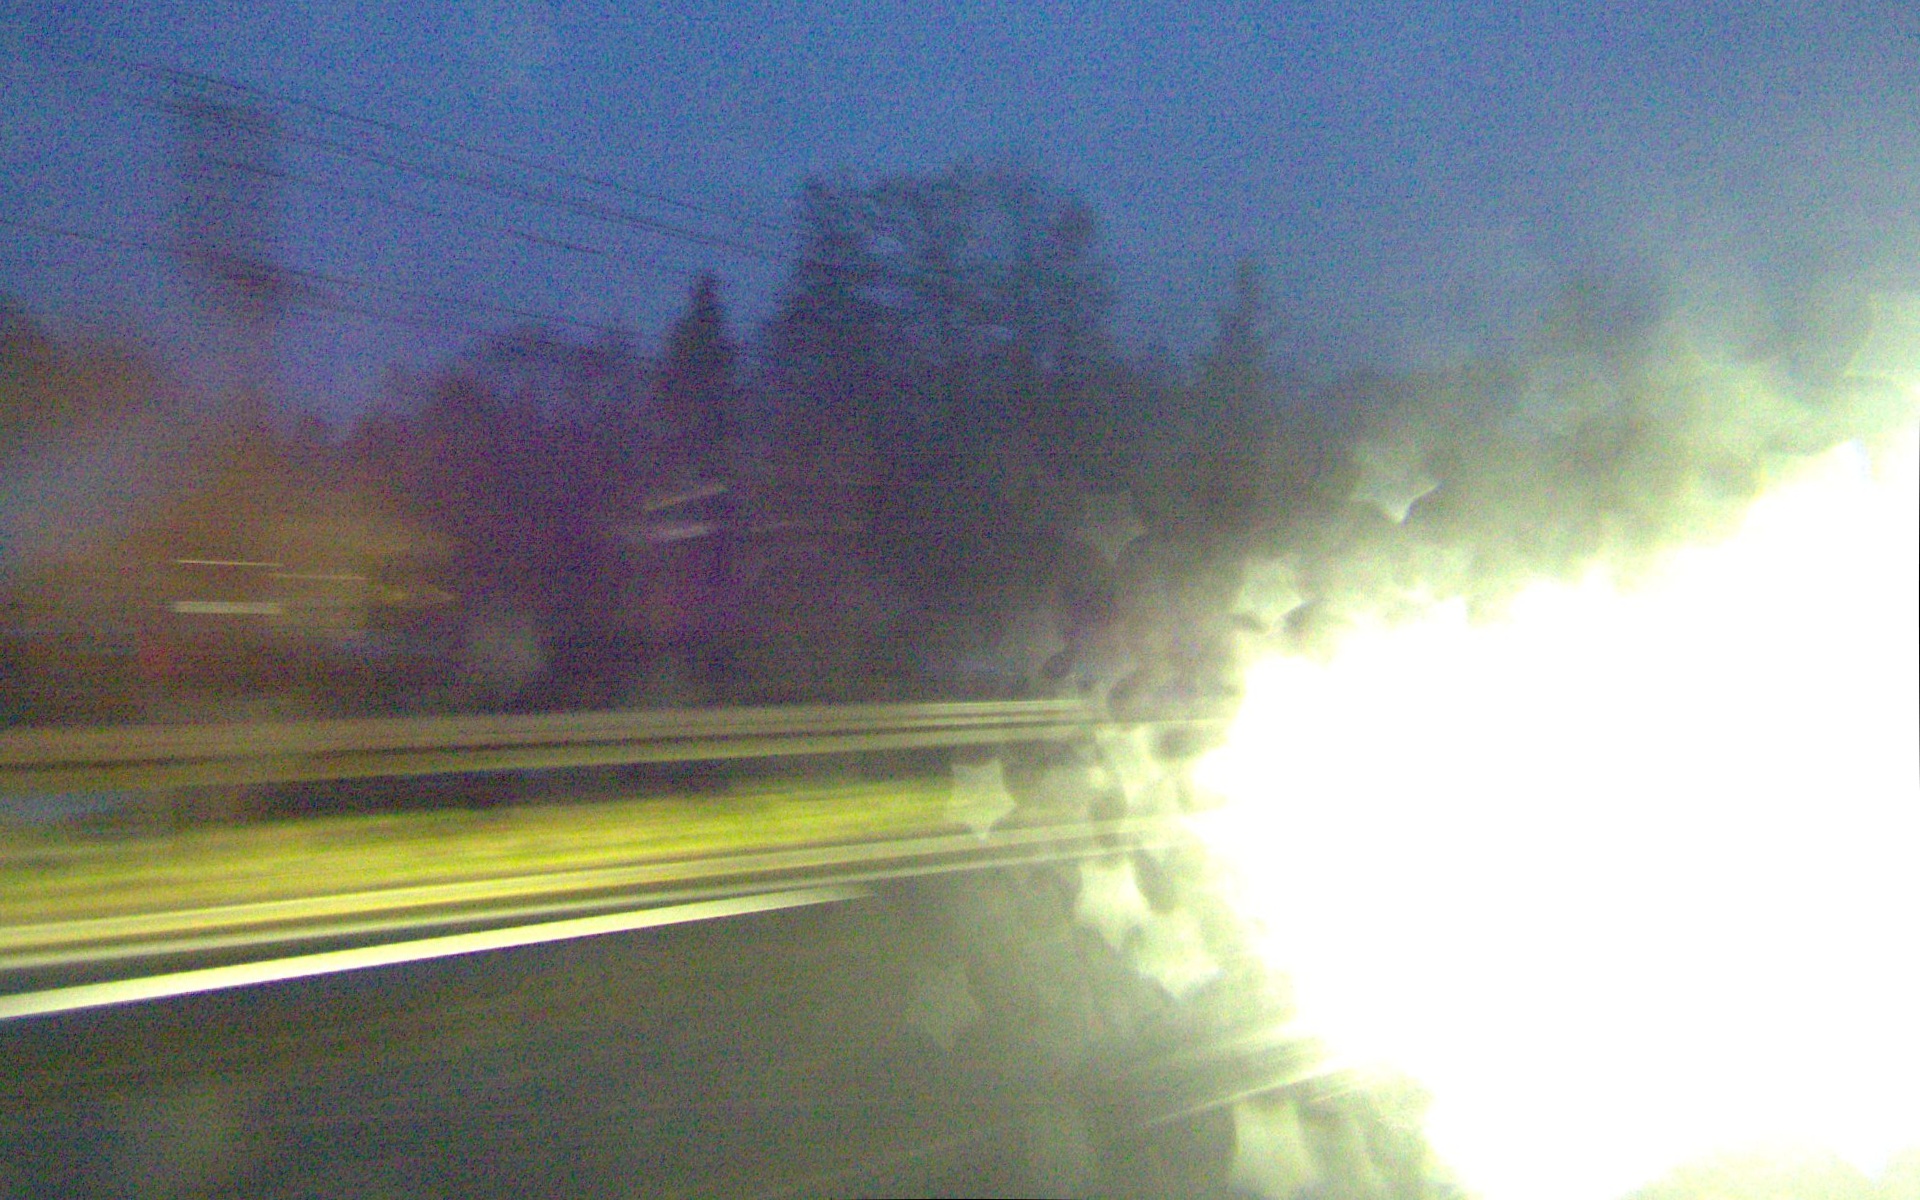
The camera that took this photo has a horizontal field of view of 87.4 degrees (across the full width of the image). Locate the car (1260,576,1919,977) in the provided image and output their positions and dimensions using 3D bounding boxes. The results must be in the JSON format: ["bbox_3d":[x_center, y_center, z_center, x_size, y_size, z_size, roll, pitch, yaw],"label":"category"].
[{"bbox_3d":[4.054,0.830,6.127,4.342,1.656,1.878,3,-2,-32],"label":"car"}]
